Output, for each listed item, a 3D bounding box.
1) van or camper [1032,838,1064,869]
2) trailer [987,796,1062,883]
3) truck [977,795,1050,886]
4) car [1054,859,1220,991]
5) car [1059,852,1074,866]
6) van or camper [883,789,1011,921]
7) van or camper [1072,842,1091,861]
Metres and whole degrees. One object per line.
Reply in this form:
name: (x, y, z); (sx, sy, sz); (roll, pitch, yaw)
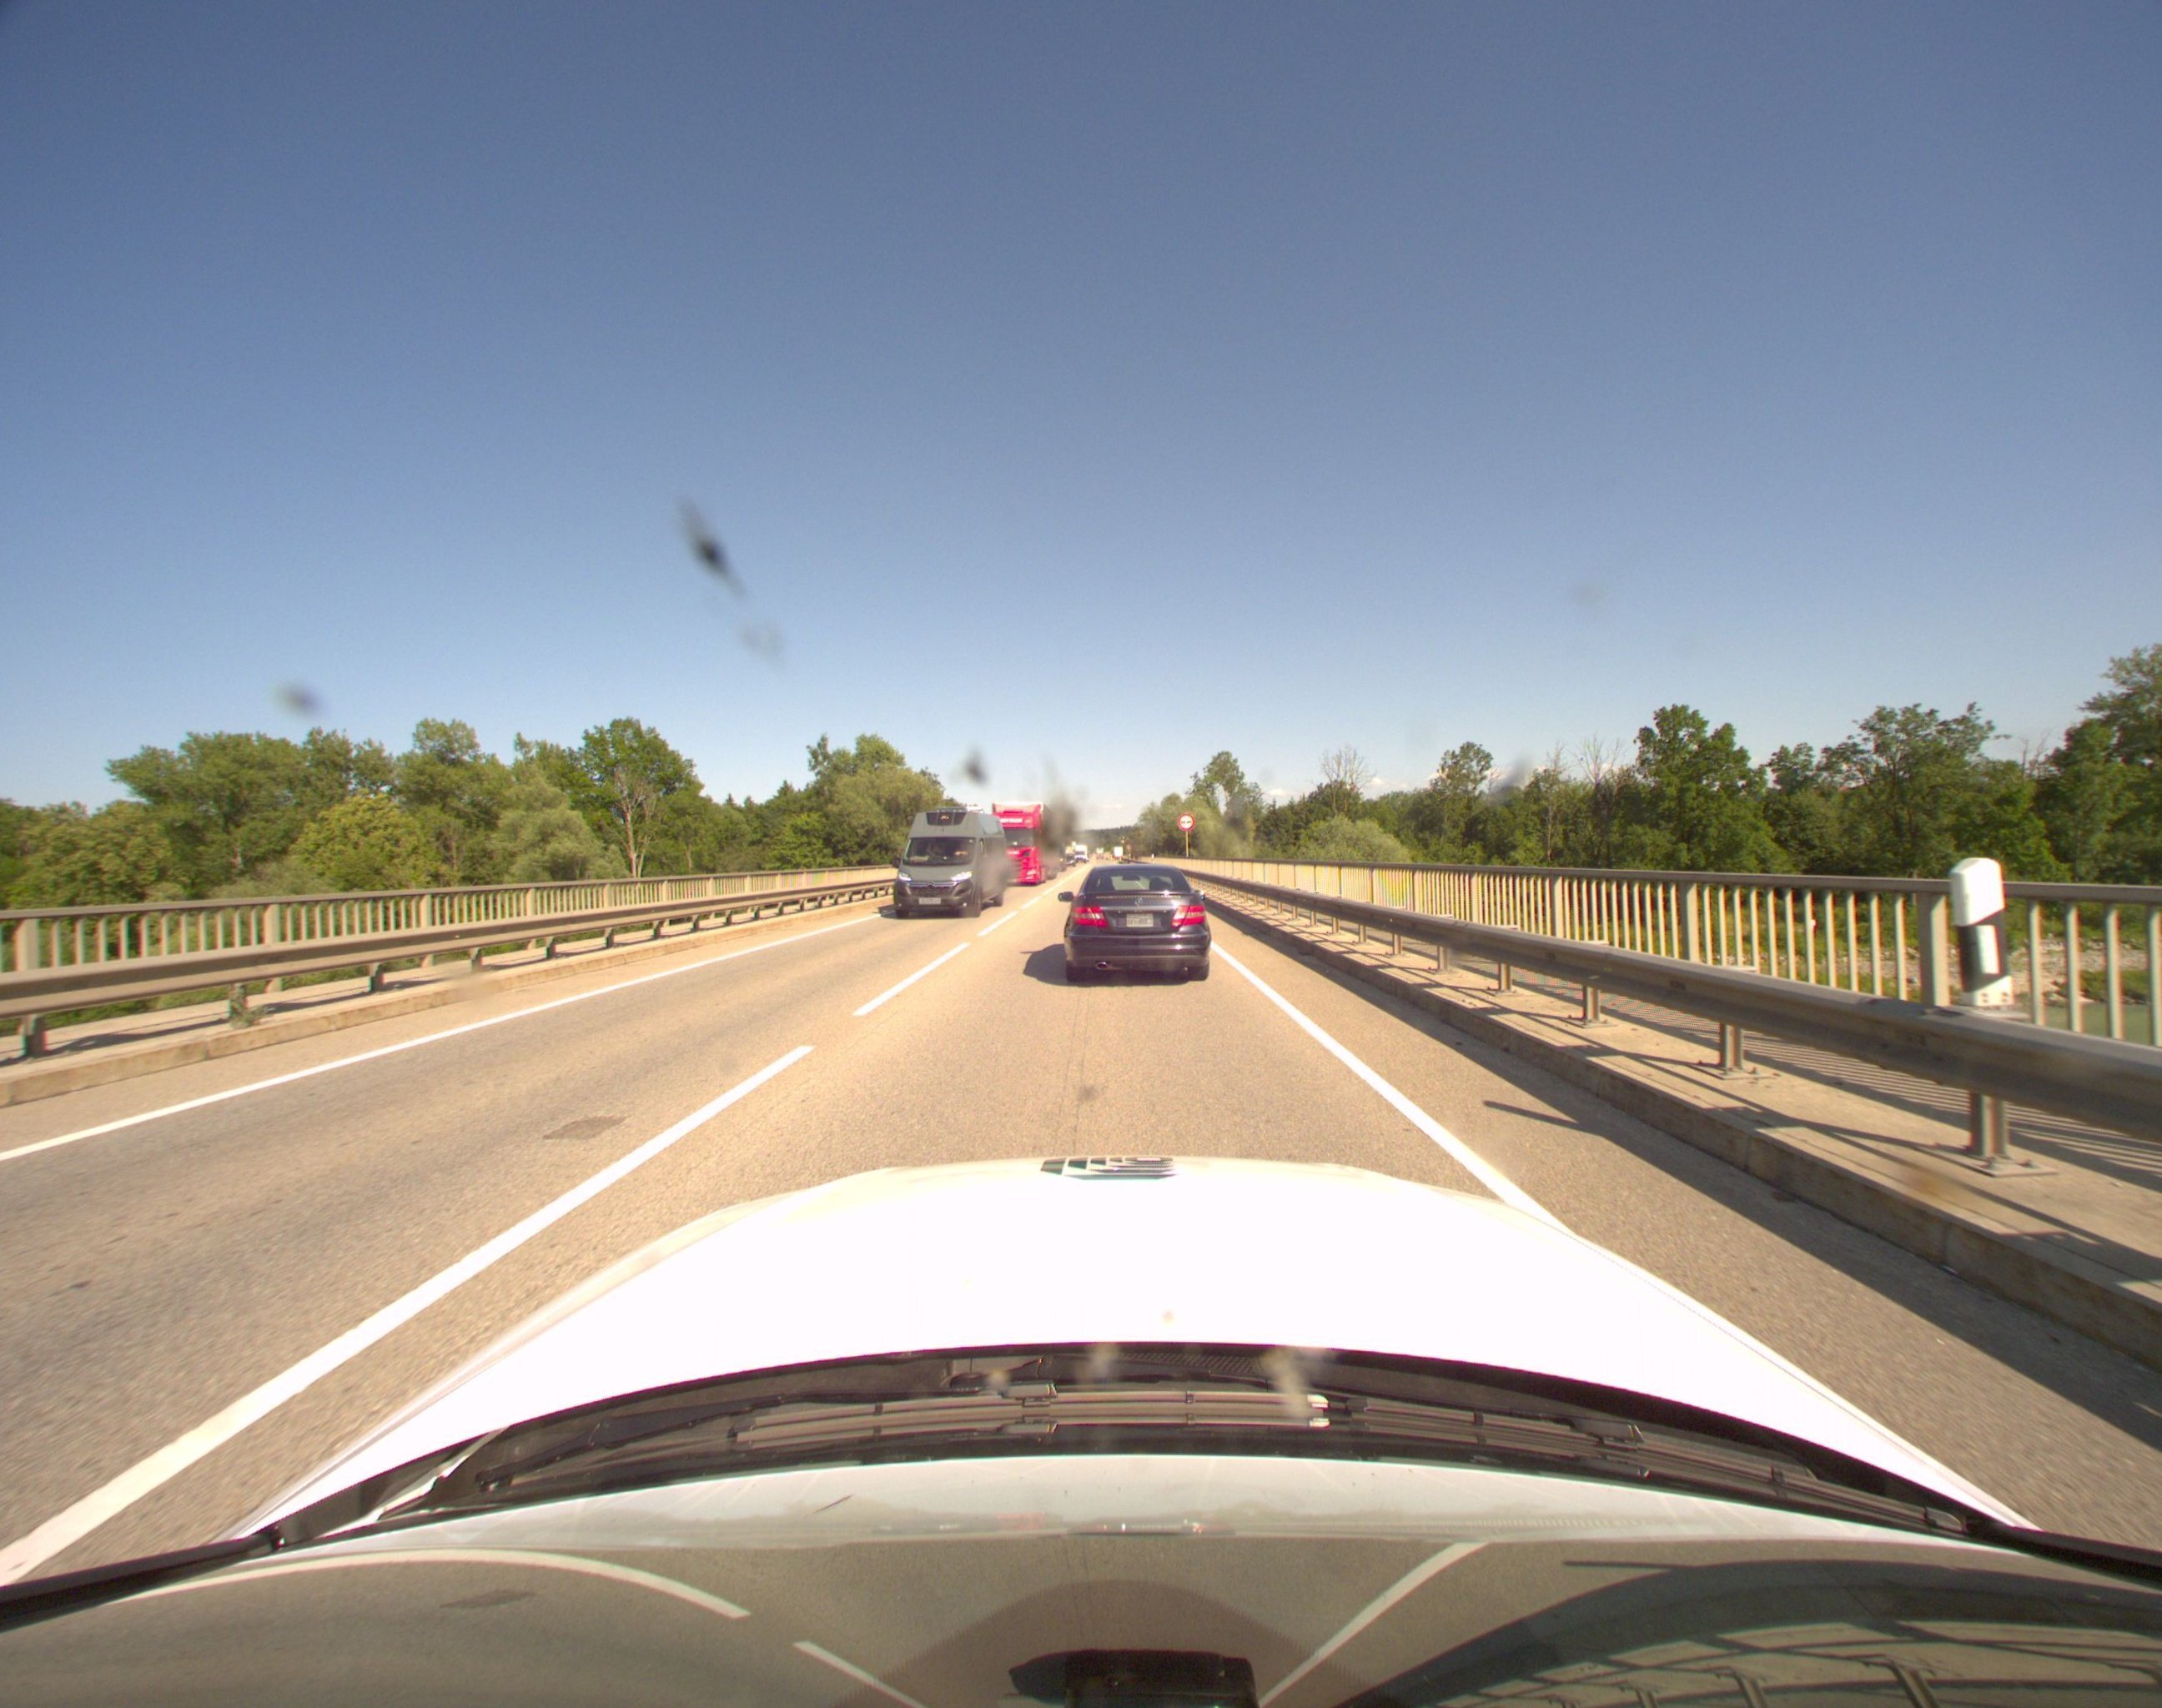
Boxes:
van or camper: (-2.925, -0.039, 73.409); (2.421, 2.642, 6.407); (-1, 0, 1)
trailer: (-2.994, -0.735, 47.770); (2.896, 4.302, 14.308); (-1, 0, 2)
truck: (-3.244, -0.640, 40.785); (2.896, 4.184, 5.716); (-1, 0, 2)
car: (0.705, 0.785, 10.846); (1.786, 1.376, 4.003); (-1, 0, 3)
car: (-1.840, 0.597, 101.503); (1.836, 1.642, 4.574); (-1, 0, -1)
van or camper: (-3.428, 0.009, 22.459); (2.307, 3.051, 6.817); (-1, 0, 1)
van or camper: (0.070, -0.390, 146.271); (2.622, 3.256, 7.761); (-1, 0, 5)
